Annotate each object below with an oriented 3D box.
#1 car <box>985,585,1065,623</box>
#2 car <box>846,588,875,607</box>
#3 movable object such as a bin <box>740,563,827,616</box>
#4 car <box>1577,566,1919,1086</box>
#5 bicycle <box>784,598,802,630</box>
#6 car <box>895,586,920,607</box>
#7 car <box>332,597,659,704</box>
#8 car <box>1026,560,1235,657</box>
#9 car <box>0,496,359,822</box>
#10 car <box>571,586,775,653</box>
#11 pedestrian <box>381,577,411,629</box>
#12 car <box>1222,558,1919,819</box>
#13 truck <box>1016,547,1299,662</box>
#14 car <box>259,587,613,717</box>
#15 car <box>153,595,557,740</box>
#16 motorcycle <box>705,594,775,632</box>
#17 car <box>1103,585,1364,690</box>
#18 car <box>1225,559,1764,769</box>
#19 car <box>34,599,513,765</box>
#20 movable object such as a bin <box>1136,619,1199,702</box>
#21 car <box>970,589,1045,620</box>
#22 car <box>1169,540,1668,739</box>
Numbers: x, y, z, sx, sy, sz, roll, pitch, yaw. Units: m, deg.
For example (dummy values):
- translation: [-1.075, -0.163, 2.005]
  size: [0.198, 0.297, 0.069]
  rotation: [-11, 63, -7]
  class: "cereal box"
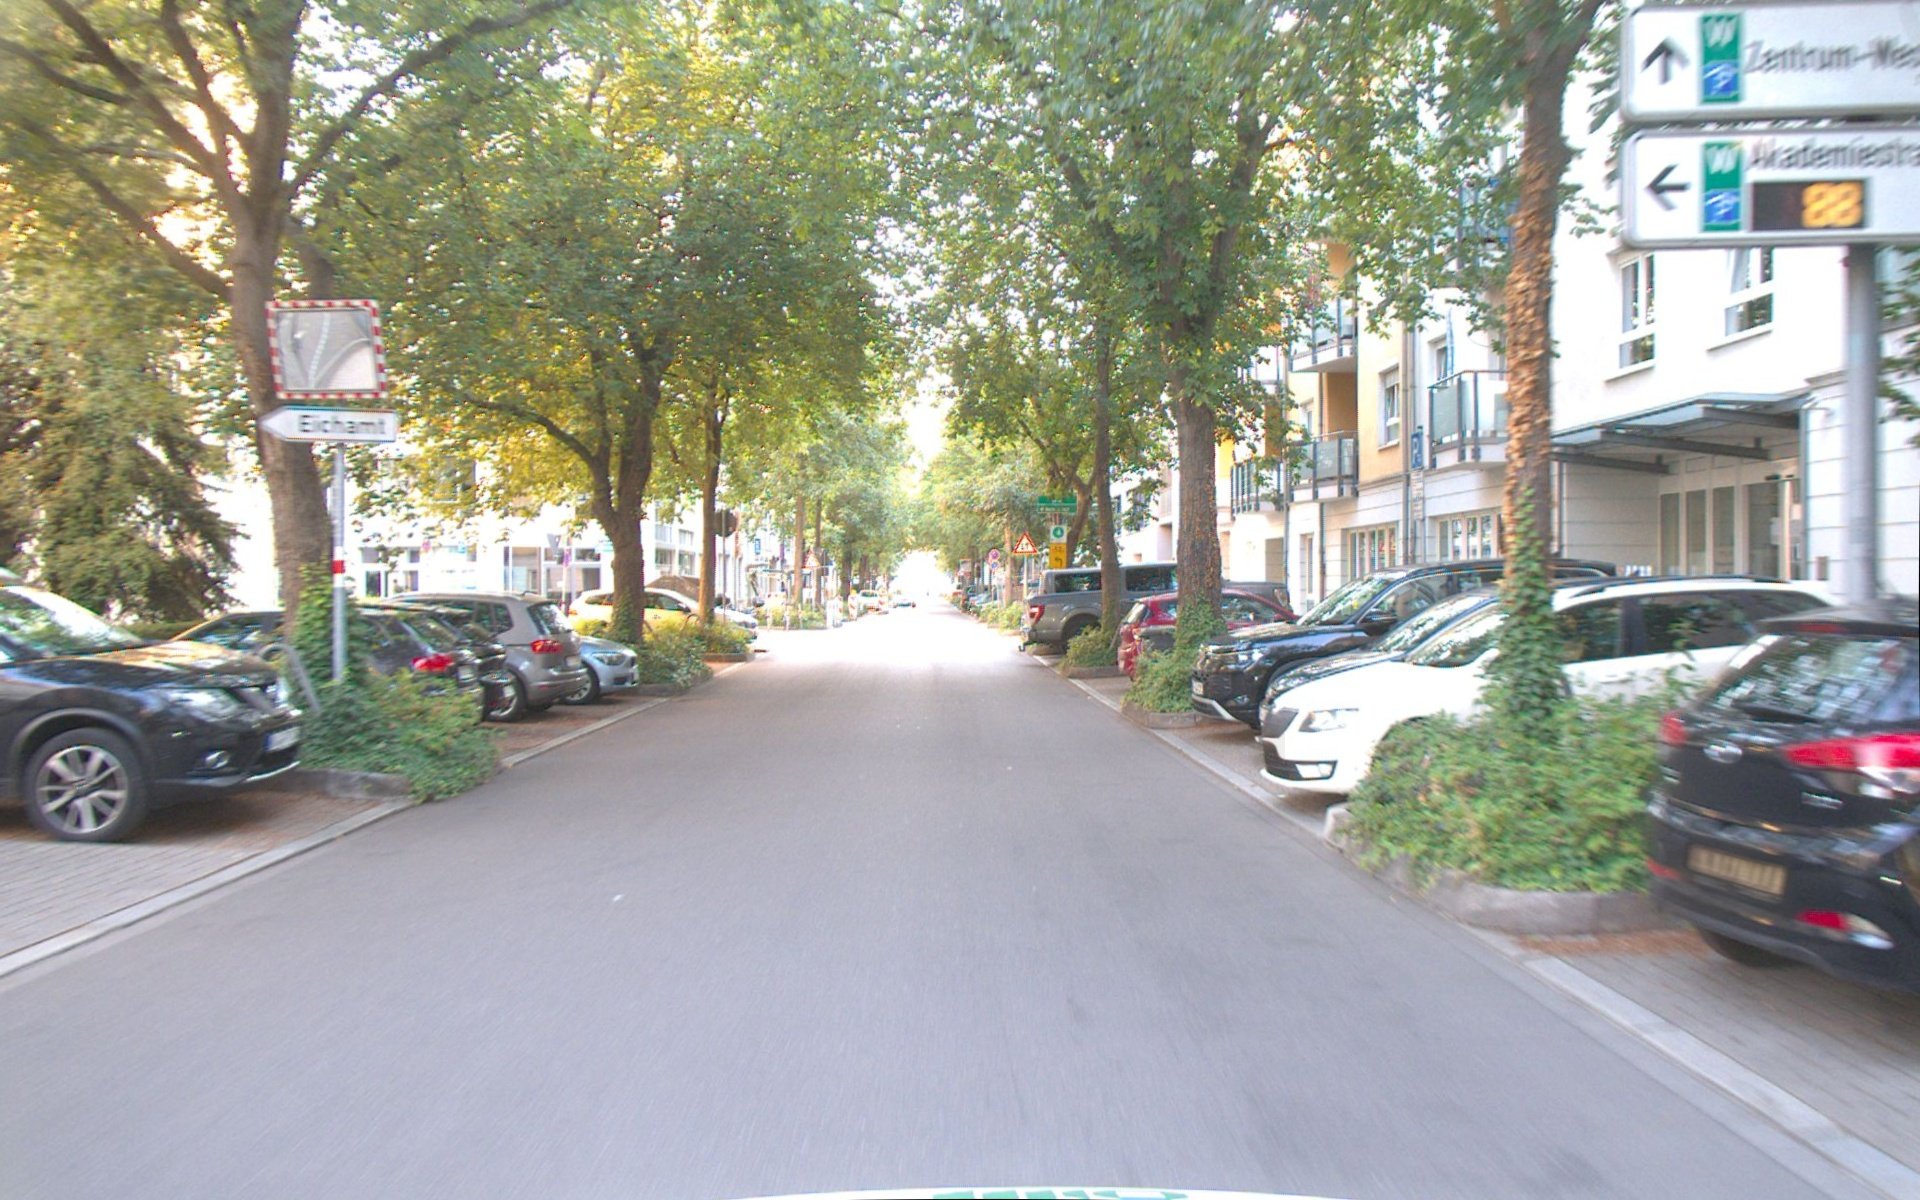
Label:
- translation: [3.233, 0.185, 82.138]
  size: [3.904, 1.836, 2.001]
  rotation: [0, 0, 2]
  class: "car"
- translation: [-7.389, -0.204, 122.471]
  size: [1.955, 1.310, 3.996]
  rotation: [0, 1, -5]
  class: "car"
- translation: [-8.270, -0.519, 77.670]
  size: [3.969, 2.424, 2.780]
  rotation: [-1, 1, -7]
  class: "movable object such as a bin"
- translation: [4.672, 0.569, 6.096]
  size: [4.006, 1.476, 1.932]
  rotation: [-4, 1, -7]
  class: "car"
- translation: [-6.395, 0.533, 63.189]
  size: [0.670, 1.173, 1.978]
  rotation: [-1, 1, -6]
  class: "bicycle"
- translation: [-4.304, -0.295, 134.960]
  size: [1.969, 1.641, 4.117]
  rotation: [0, 0, -2]
  class: "car"
- translation: [-6.635, 0.703, 23.973]
  size: [4.201, 1.454, 1.879]
  rotation: [0, 0, -2]
  class: "car"
- translation: [3.865, 0.169, 38.059]
  size: [4.508, 2.102, 2.196]
  rotation: [-1, 0, -3]
  class: "car"
- translation: [-6.592, 0.355, 11.075]
  size: [4.415, 1.989, 1.999]
  rotation: [0, 0, -3]
  class: "car"
- translation: [-6.850, 0.454, 39.800]
  size: [4.523, 1.579, 2.075]
  rotation: [0, 0, 1]
  class: "car"
- translation: [-20.909, 0.107, 61.295]
  size: [0.879, 1.883, 0.866]
  rotation: [-1, 0, -32]
  class: "pedestrian"
- translation: [4.359, 0.586, 12.085]
  size: [4.508, 1.493, 1.795]
  rotation: [-3, 0, -2]
  class: "car"
- translation: [4.131, 0.084, 35.322]
  size: [5.768, 2.351, 2.212]
  rotation: [0, 0, -1]
  class: "truck"
- translation: [-6.668, 0.638, 21.344]
  size: [3.903, 1.593, 1.930]
  rotation: [0, 0, 4]
  class: "car"
- translation: [-6.707, 0.720, 18.678]
  size: [3.908, 1.517, 1.824]
  rotation: [0, 0, -4]
  class: "car"
- translation: [-7.901, 0.467, 59.533]
  size: [2.336, 1.304, 1.051]
  rotation: [-1, 1, -42]
  class: "motorcycle"
- translation: [4.187, 0.557, 25.704]
  size: [3.701, 1.571, 1.876]
  rotation: [0, 0, -3]
  class: "car"
- translation: [4.629, 0.529, 14.810]
  size: [4.137, 1.463, 1.930]
  rotation: [-4, 0, 0]
  class: "car"
- translation: [-6.610, 0.757, 16.298]
  size: [3.907, 1.489, 1.921]
  rotation: [0, 0, -3]
  class: "car"
- translation: [2.891, 0.837, 23.116]
  size: [0.745, 1.103, 0.785]
  rotation: [-2, 0, 0]
  class: "movable object such as a bin"
- translation: [2.465, 0.219, 86.697]
  size: [3.905, 1.612, 2.000]
  rotation: [0, 0, 0]
  class: "car"
- translation: [4.676, 0.372, 17.294]
  size: [4.553, 1.645, 2.008]
  rotation: [-4, 1, -5]
  class: "car"
